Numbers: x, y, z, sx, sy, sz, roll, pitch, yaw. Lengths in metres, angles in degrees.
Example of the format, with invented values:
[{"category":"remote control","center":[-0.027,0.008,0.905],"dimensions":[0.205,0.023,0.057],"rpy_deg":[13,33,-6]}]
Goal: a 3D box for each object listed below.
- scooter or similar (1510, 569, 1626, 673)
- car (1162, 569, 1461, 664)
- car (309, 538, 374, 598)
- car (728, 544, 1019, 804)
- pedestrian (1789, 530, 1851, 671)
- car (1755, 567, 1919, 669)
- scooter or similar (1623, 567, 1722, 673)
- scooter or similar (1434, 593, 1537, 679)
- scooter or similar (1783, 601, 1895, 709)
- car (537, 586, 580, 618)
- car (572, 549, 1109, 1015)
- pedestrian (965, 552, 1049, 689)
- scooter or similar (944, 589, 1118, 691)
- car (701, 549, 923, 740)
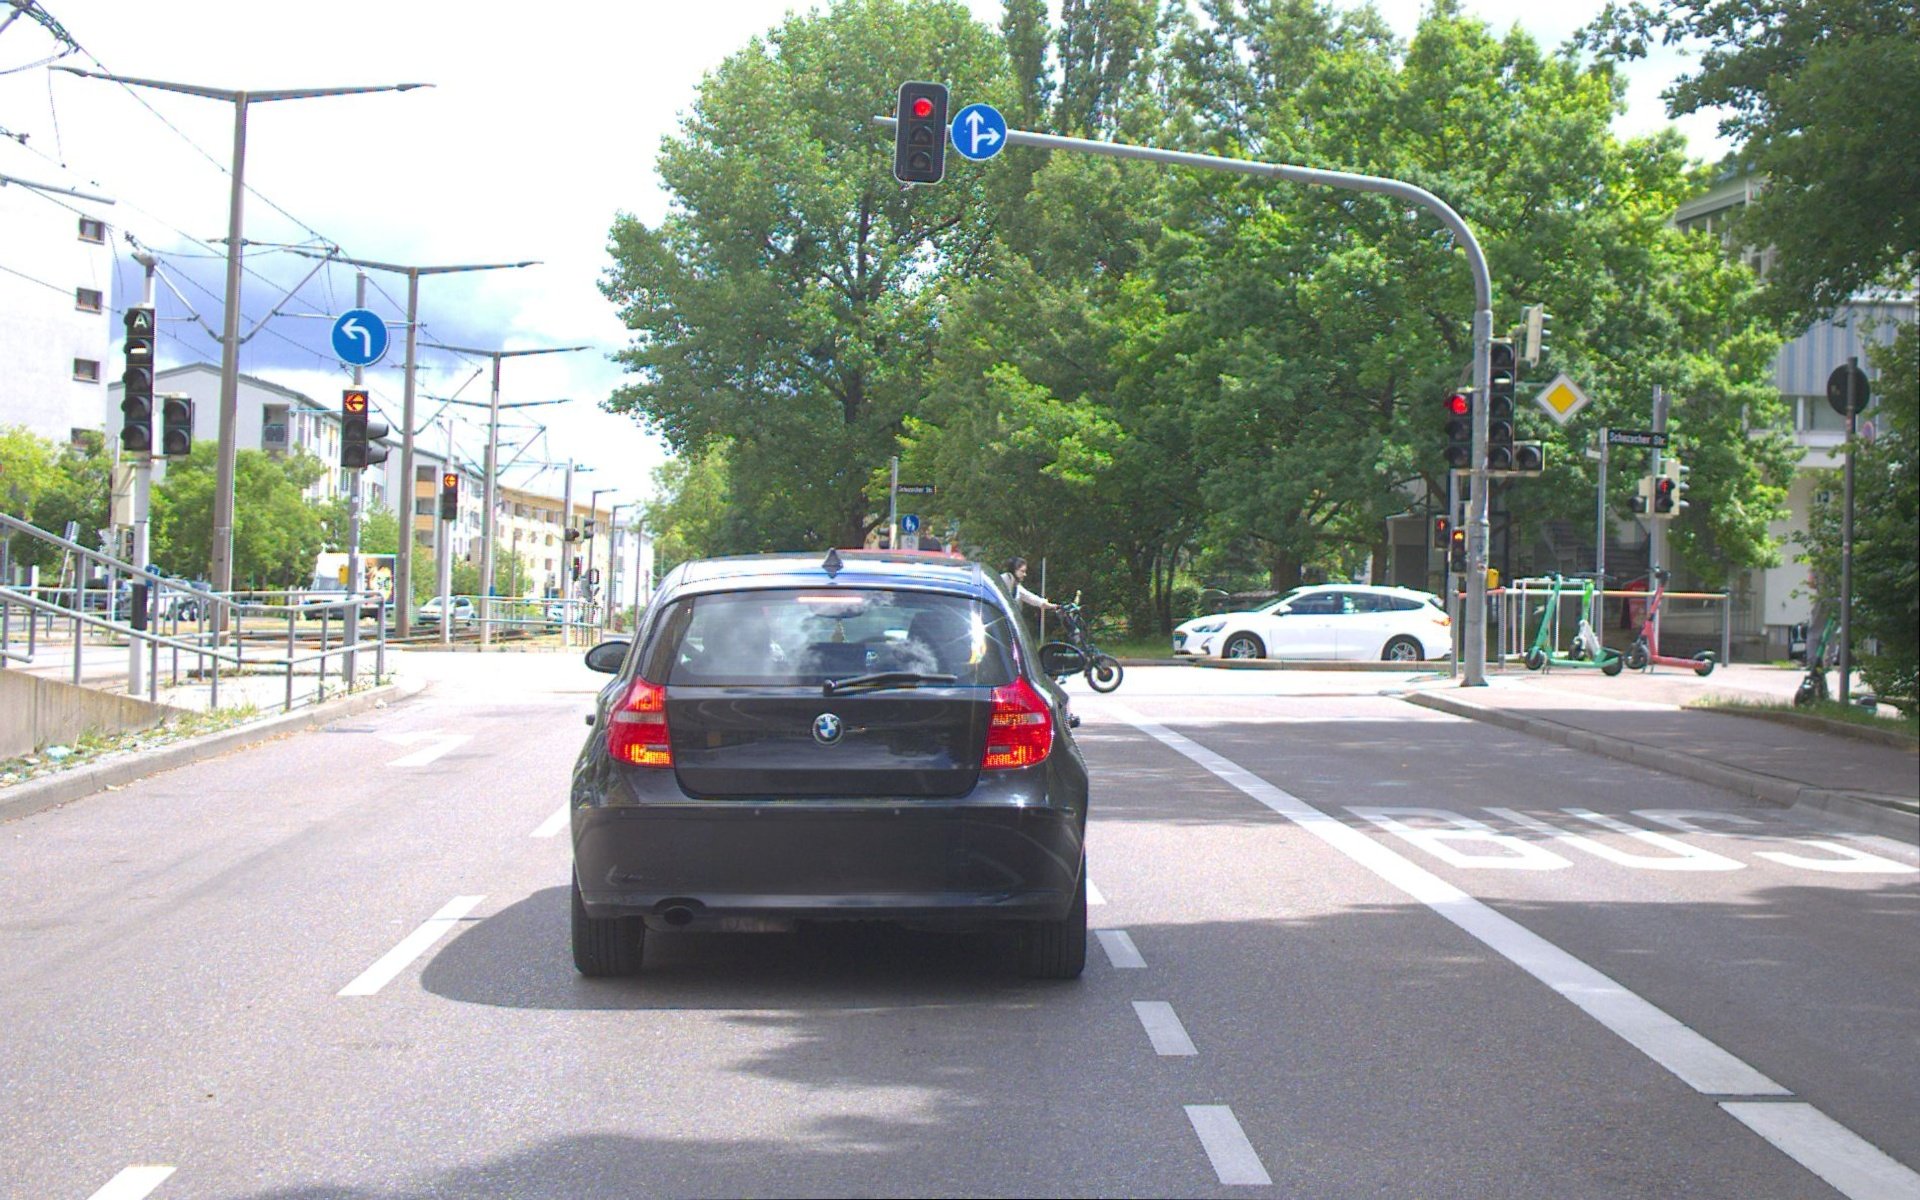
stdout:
[{"category":"scooter or similar","center":[7.067,0.242,39.964],"dimensions":[1.287,1.185,0.385],"rpy_deg":[0,1,-16]},{"category":"car","center":[5.816,0.269,57.121],"dimensions":[4.571,1.521,1.945],"rpy_deg":[0,1,-11]},{"category":"car","center":[-27.940,-1.481,155.527],"dimensions":[2.139,2.631,5.359],"rpy_deg":[1,1,-2]},{"category":"car","center":[-0.480,0.381,20.752],"dimensions":[1.594,1.414,3.517],"rpy_deg":[1,1,0]},{"category":"pedestrian","center":[11.195,0.003,44.748],"dimensions":[0.614,1.784,0.568],"rpy_deg":[5,1,18]},{"category":"car","center":[14.822,0.283,55.271],"dimensions":[3.576,1.595,1.712],"rpy_deg":[0,0,-12]},{"category":"scooter or similar","center":[8.467,0.237,40.855],"dimensions":[1.106,1.253,0.332],"rpy_deg":[0,1,-12]},{"category":"scooter or similar","center":[5.940,0.403,38.845],"dimensions":[1.119,0.954,0.300],"rpy_deg":[0,1,-16]},{"category":"scooter or similar","center":[9.091,0.570,35.549],"dimensions":[1.148,1.095,0.332],"rpy_deg":[1,1,-24]},{"category":"car","center":[-21.380,0.093,183.139],"dimensions":[1.966,1.590,4.001],"rpy_deg":[1,1,-3]},{"category":"car","center":[-0.342,0.538,12.422],"dimensions":[1.654,1.414,3.517],"rpy_deg":[1,1,1]},{"category":"pedestrian","center":[0.506,0.213,36.595],"dimensions":[0.865,1.437,0.798],"rpy_deg":[0,1,2]},{"category":"scooter or similar","center":[0.739,0.415,36.080],"dimensions":[1.780,1.047,0.410],"rpy_deg":[0,1,-4]},{"category":"car","center":[-1.184,0.309,27.610],"dimensions":[1.654,1.414,3.517],"rpy_deg":[1,1,-2]}]
